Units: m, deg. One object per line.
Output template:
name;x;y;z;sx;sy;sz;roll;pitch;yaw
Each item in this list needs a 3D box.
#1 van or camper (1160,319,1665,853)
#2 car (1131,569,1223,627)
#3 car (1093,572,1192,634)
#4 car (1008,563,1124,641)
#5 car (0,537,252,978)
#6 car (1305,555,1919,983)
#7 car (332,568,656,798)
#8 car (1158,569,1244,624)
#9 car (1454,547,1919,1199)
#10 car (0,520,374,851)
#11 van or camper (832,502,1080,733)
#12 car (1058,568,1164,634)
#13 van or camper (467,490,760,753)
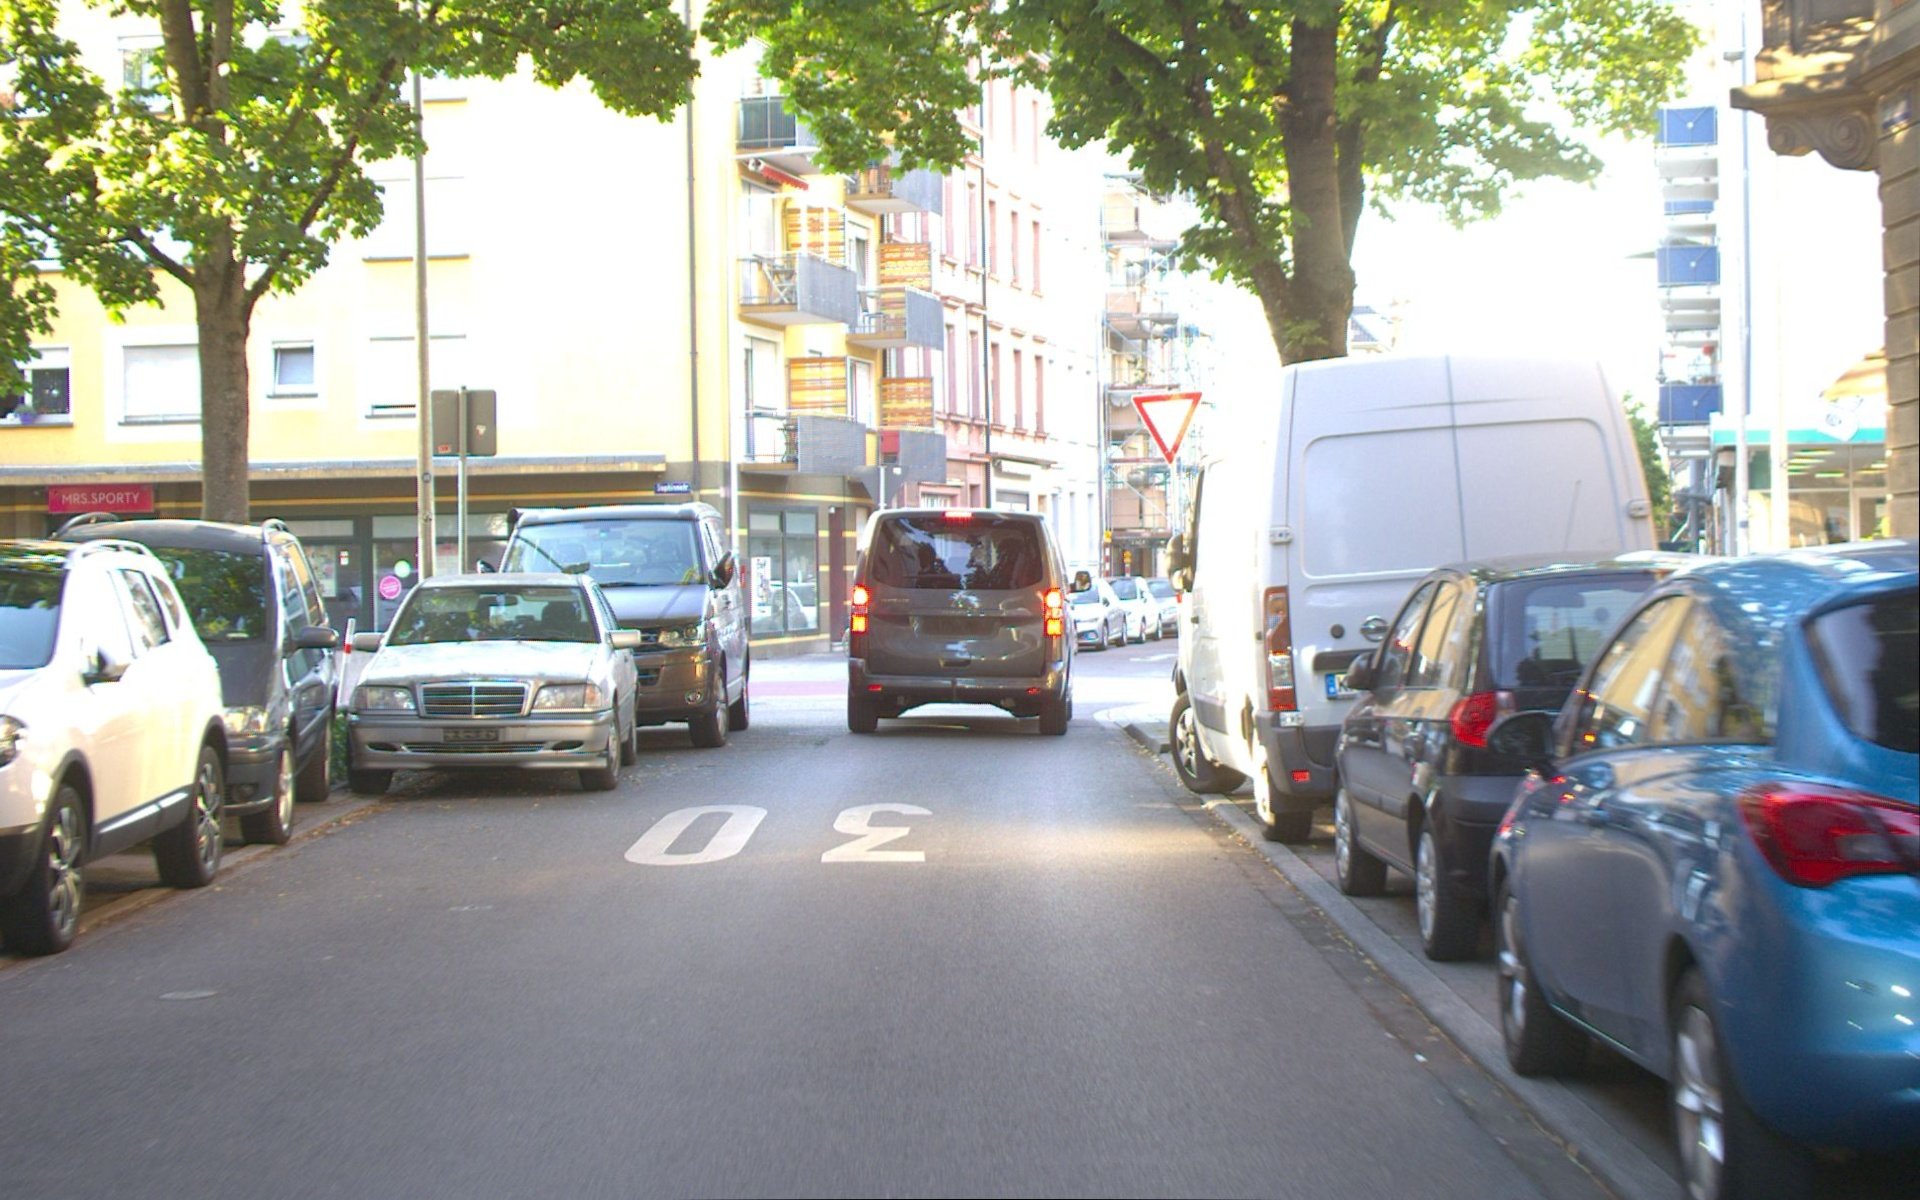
van or camper;2.362;-0.104;19.443;1.993;2.590;5.425;0;1;-2
car;5.504;-0.058;86.853;1.796;1.415;3.746;0;1;12
car;4.350;0.059;81.550;1.796;1.415;3.746;0;1;12
car;2.220;0.023;71.234;1.796;1.573;3.746;0;1;12
car;-4.423;0.540;14.814;1.897;1.631;4.156;1;1;0
car;2.473;0.558;13.724;1.750;1.466;3.776;0;1;-1
car;-3.087;0.509;23.361;1.741;1.399;3.375;-1;1;0
car;6.452;-0.115;91.748;1.796;1.415;3.746;0;1;12
car;2.356;0.605;8.469;1.750;1.466;3.776;0;1;0
car;-4.506;0.421;19.639;1.741;1.706;3.375;1;1;0
van or camper;0.031;0.117;30.376;2.035;1.891;4.270;0;1;2
car;3.402;0.000;76.846;1.796;1.415;3.746;0;1;12
van or camper;-2.778;0.139;28.459;1.862;1.976;4.271;-1;1;1
